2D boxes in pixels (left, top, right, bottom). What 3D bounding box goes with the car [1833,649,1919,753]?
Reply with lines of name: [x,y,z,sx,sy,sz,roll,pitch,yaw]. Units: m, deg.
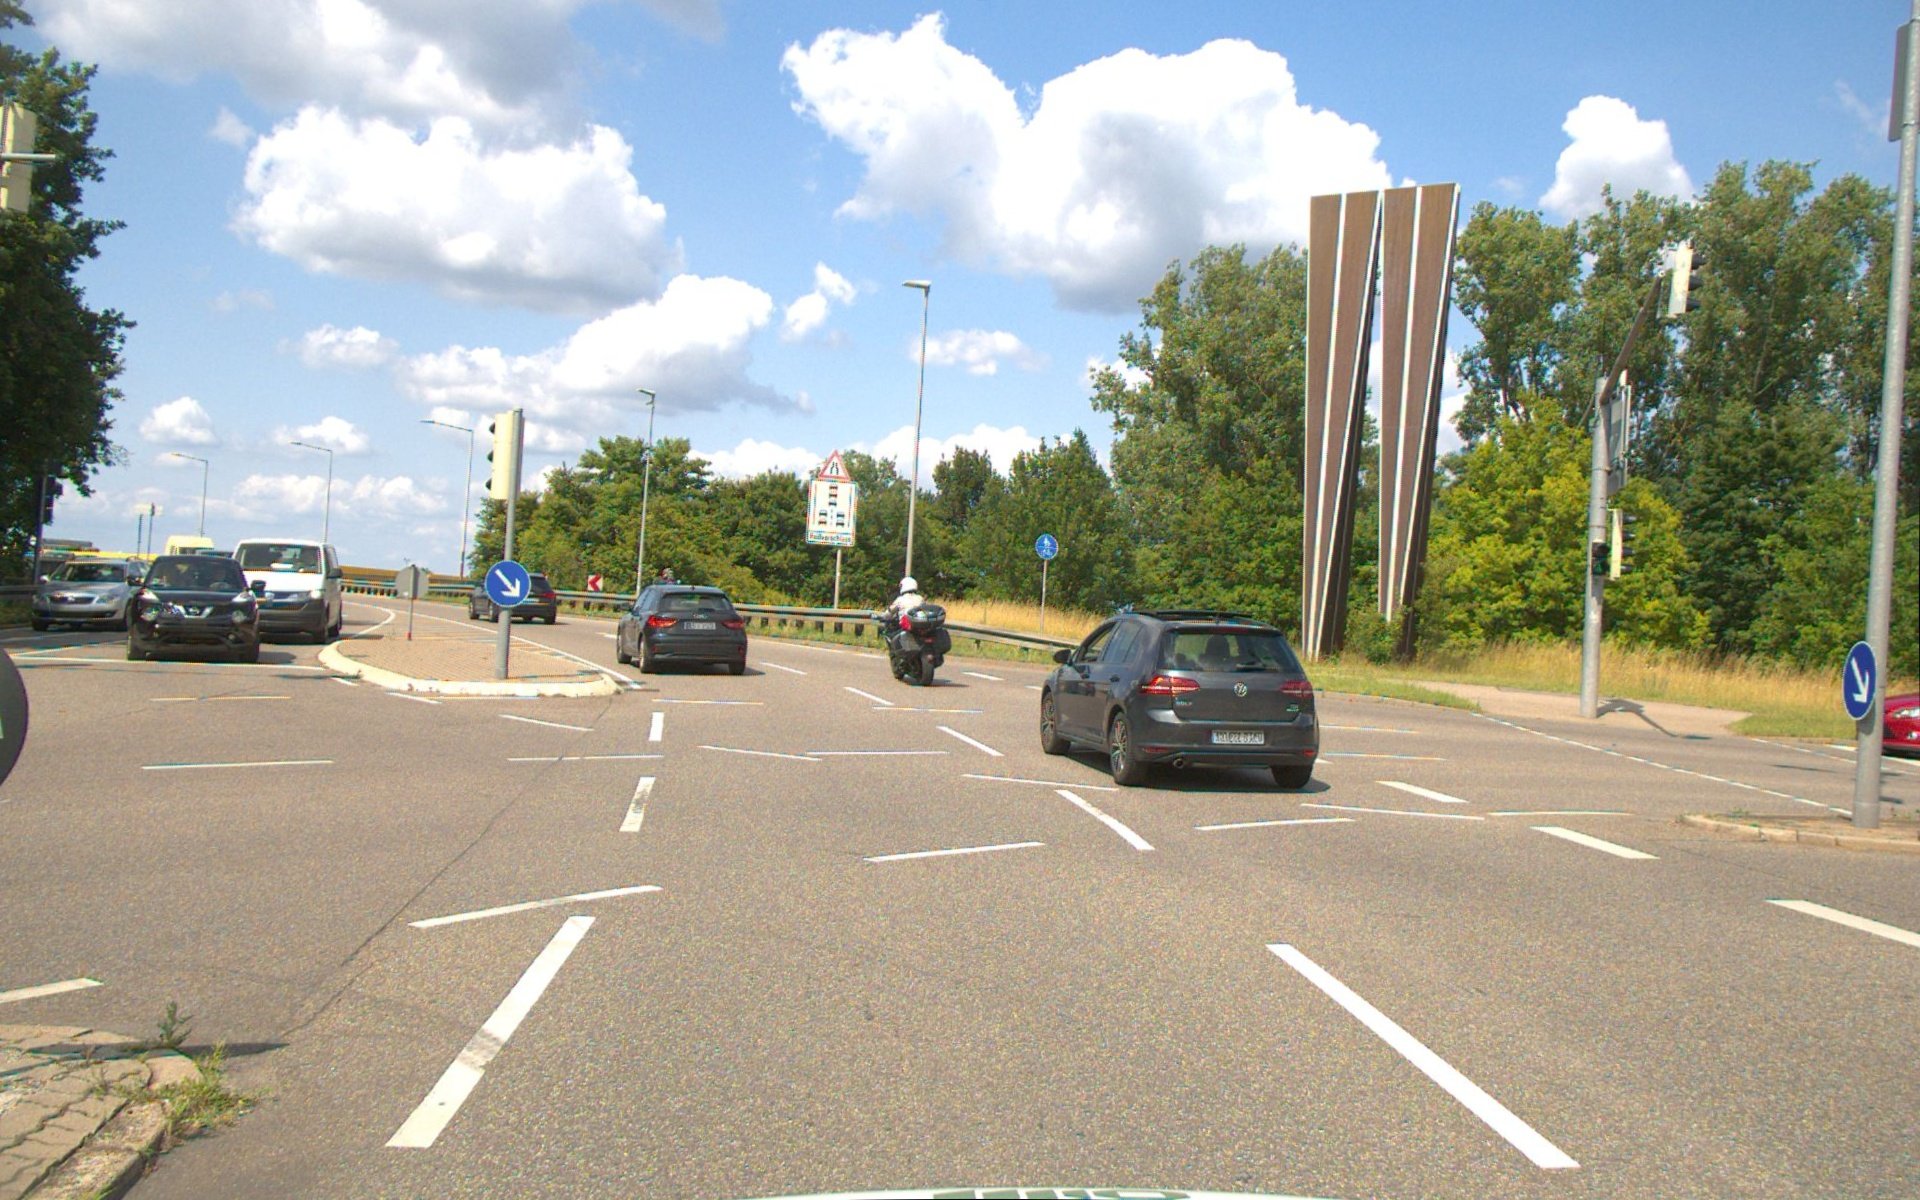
car: [15.429,1.590,24.365,4.115,1.399,1.760,4,0,3]

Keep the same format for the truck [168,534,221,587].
truck: [-39.753,-2.048,85.793,1.973,2.666,6.042,0,1,-30]

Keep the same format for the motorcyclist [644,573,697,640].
motorcyclist: [-7.241,0.158,41.334,0.954,1.624,1.115,3,-1,-27]

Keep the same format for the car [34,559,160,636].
car: [-18.067,-0.057,34.803,1.657,1.504,4.686,1,0,-19]

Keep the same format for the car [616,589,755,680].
car: [-4.688,0.560,27.878,1.657,1.412,3.717,1,-1,-20]

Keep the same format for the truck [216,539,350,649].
truck: [-13.253,-0.140,32.672,1.930,1.946,5.344,2,0,-17]

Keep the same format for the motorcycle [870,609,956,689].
motorcycle: [-0.776,0.755,26.432,0.776,1.151,2.389,3,0,-16]

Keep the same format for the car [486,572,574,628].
car: [-12.654,-0.013,48.562,1.623,1.504,3.836,2,-1,-28]

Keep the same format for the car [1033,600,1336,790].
car: [1.931,0.785,15.388,1.613,1.504,3.862,2,-1,-11]

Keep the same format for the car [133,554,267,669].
car: [-11.620,0.137,25.268,1.677,1.584,3.791,2,0,-26]

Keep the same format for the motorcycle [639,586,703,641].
motorcycle: [-7.241,0.325,41.342,0.877,1.269,2.378,3,0,-27]

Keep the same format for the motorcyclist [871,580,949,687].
motorcyclist: [-0.813,0.532,26.679,0.950,1.648,1.120,3,-1,-16]
